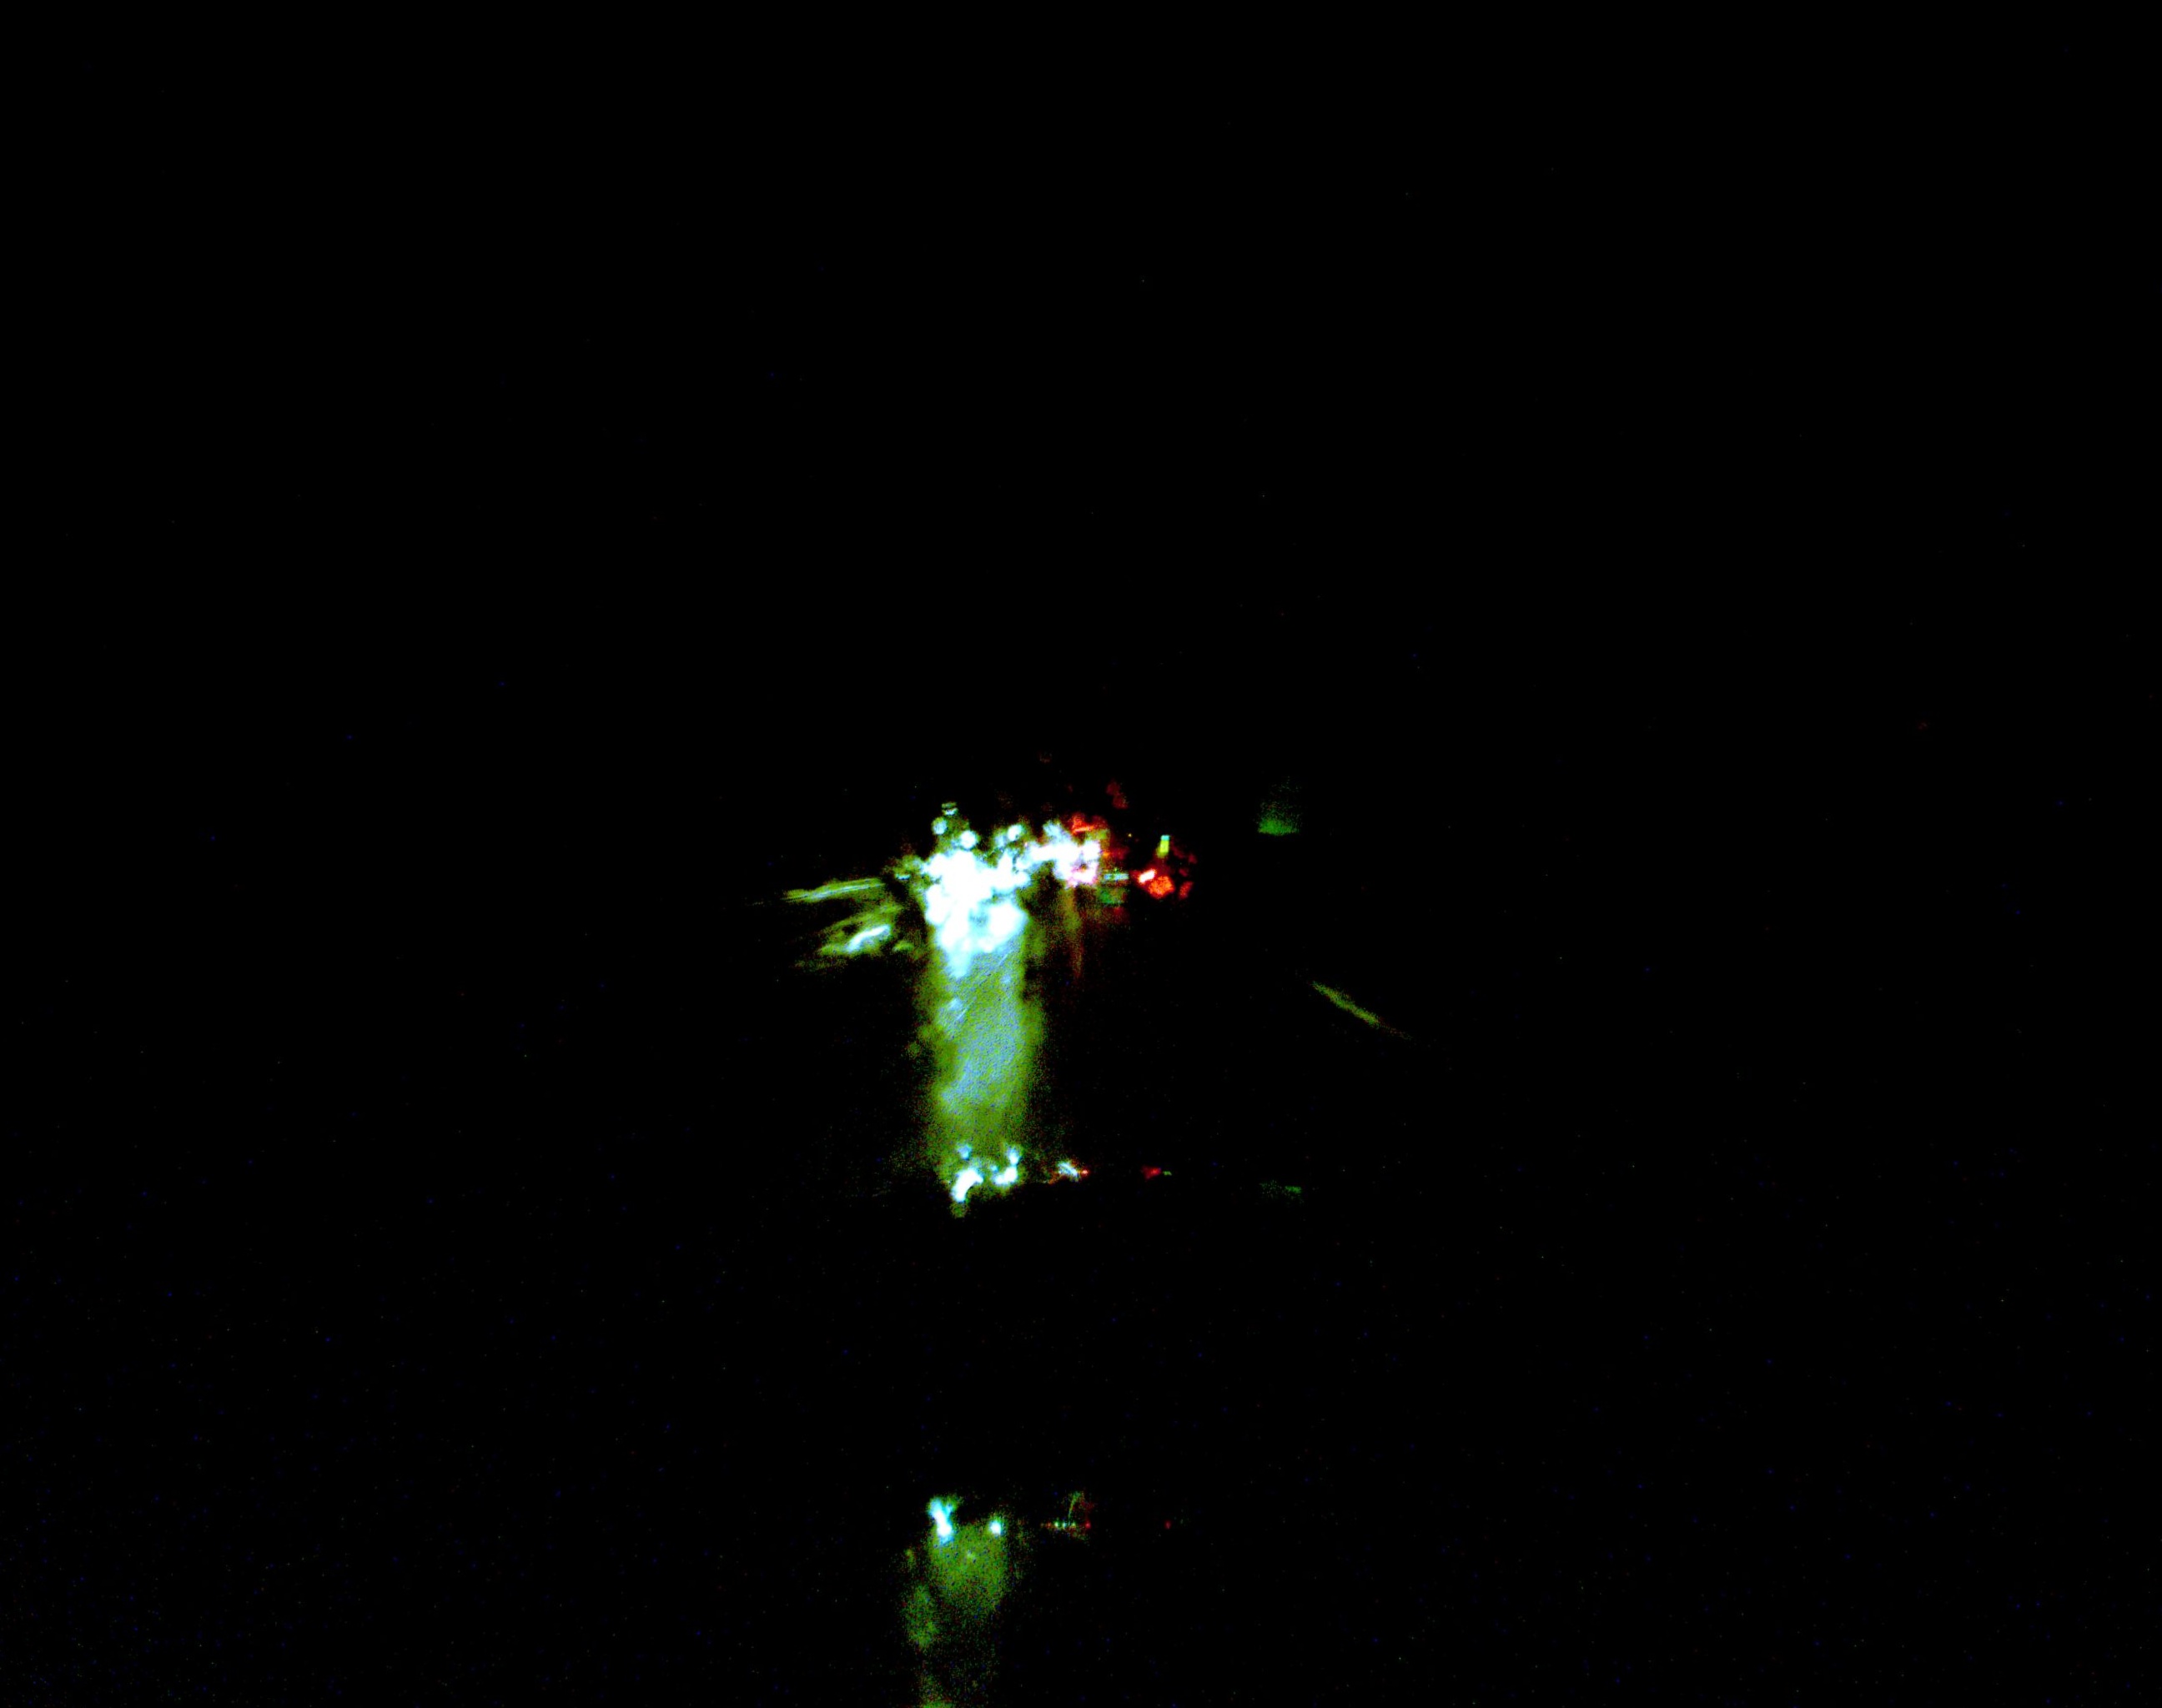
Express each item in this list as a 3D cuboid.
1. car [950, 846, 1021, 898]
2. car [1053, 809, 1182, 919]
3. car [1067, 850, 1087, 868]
[{"bbox_3d":[-3.126,0.546,27.403,1.856,1.544,4.229,0,1,0],"label":"car"},{"bbox_3d":[0.811,0.192,20.242,2.706,2.307,6.101,0,0,1],"label":"car"},{"bbox_3d":[-0.396,0.526,87.056,1.986,1.915,4.001,1,0,1],"label":"car"}]
